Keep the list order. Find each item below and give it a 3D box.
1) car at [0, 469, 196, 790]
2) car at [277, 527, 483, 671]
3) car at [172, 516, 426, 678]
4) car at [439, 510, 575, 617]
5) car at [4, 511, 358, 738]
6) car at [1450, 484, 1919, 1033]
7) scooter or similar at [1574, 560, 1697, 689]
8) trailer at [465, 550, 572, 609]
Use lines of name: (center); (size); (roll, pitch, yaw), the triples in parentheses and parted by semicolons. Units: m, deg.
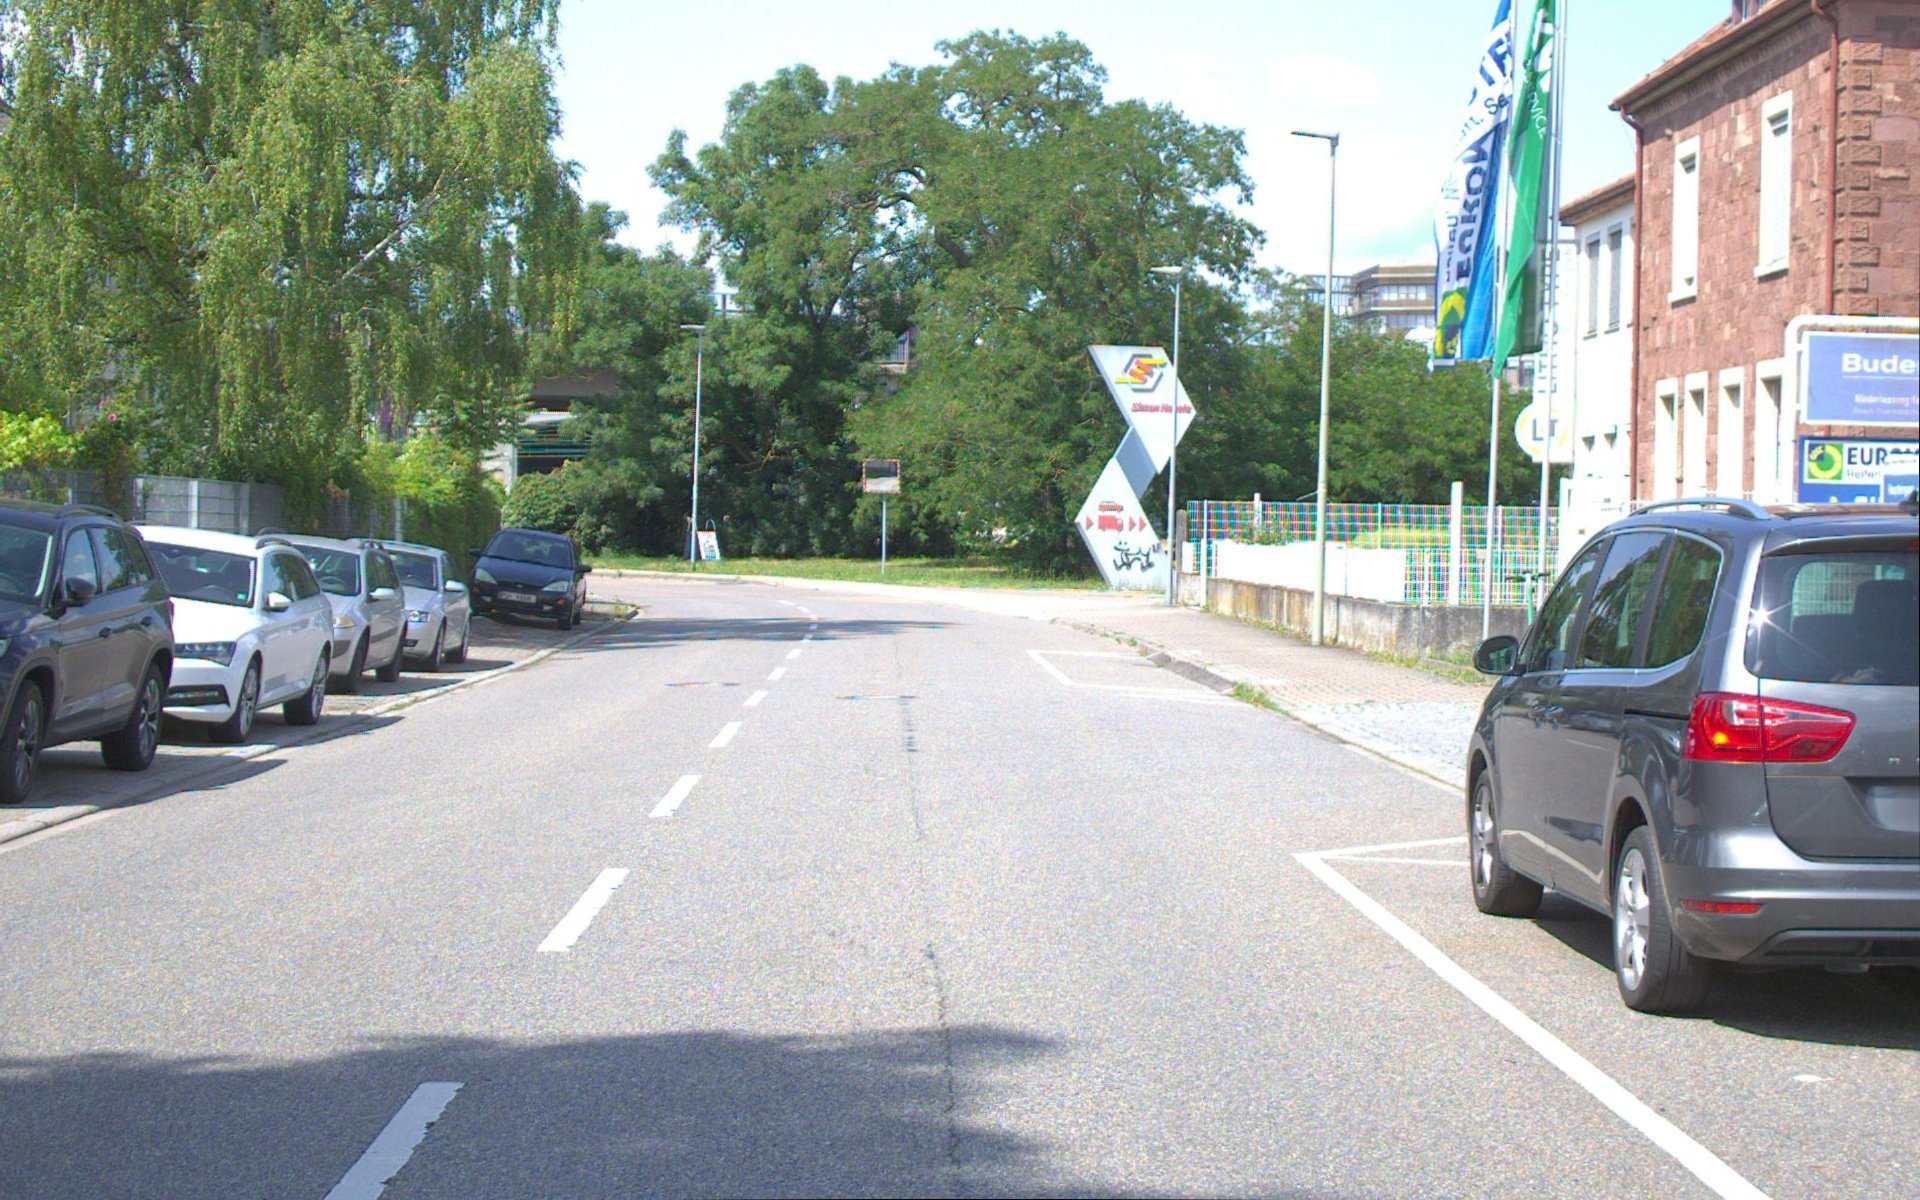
car: (-5.972, 0.074, 20.678); (1.610, 1.739, 4.636); (3, 1, 0)
car: (-6.888, -0.064, 41.246); (1.724, 1.472, 4.632); (5, 1, -2)
car: (-6.715, -0.084, 35.366); (1.794, 1.522, 4.660); (1, 1, -1)
car: (-7.262, -0.592, 55.441); (1.682, 1.507, 4.158); (5, 0, -2)
car: (-5.979, 0.120, 26.916); (1.700, 1.589, 4.788); (1, 1, 0)
car: (3.084, 0.434, 12.699); (1.825, 1.659, 4.556); (1, 1, -1)
scooter or similar: (6.646, 0.236, 33.826); (1.147, 1.241, 0.259); (1, 1, 17)
trailer: (-7.596, -0.365, 59.318); (1.464, 0.848, 2.467); (6, 1, -1)
